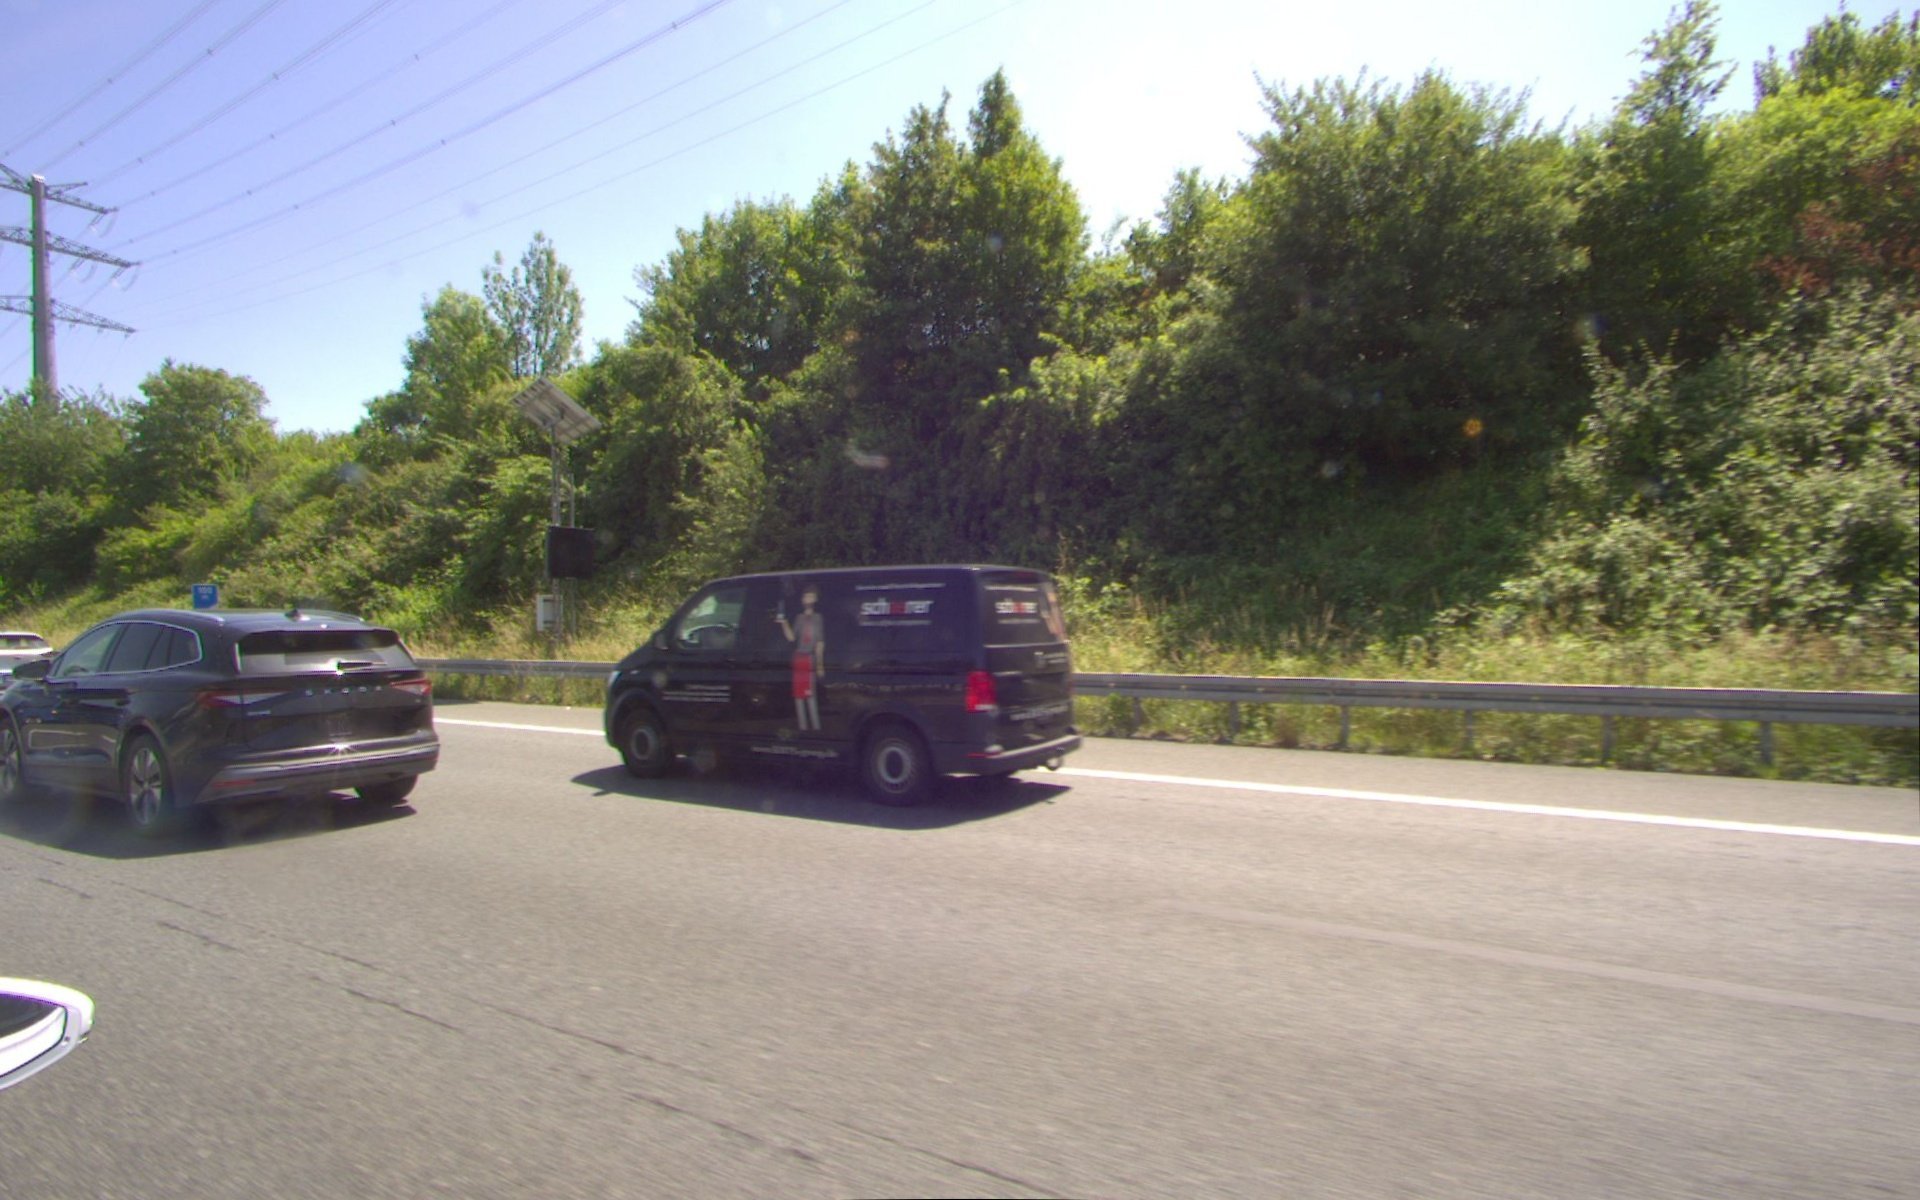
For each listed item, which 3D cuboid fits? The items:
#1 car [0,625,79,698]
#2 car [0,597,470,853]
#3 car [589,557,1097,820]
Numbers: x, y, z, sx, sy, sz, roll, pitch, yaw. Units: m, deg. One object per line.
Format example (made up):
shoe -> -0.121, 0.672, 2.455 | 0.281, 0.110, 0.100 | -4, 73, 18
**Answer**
car -> -21.029, 1.282, 21.774 | 3.956, 1.489, 1.738 | -1, -1, 32
car -> -6.233, 0.859, 8.326 | 4.366, 1.635, 1.825 | -1, -1, 31
car -> -1.205, 0.712, 9.359 | 4.630, 1.928, 1.781 | -1, -2, 32
